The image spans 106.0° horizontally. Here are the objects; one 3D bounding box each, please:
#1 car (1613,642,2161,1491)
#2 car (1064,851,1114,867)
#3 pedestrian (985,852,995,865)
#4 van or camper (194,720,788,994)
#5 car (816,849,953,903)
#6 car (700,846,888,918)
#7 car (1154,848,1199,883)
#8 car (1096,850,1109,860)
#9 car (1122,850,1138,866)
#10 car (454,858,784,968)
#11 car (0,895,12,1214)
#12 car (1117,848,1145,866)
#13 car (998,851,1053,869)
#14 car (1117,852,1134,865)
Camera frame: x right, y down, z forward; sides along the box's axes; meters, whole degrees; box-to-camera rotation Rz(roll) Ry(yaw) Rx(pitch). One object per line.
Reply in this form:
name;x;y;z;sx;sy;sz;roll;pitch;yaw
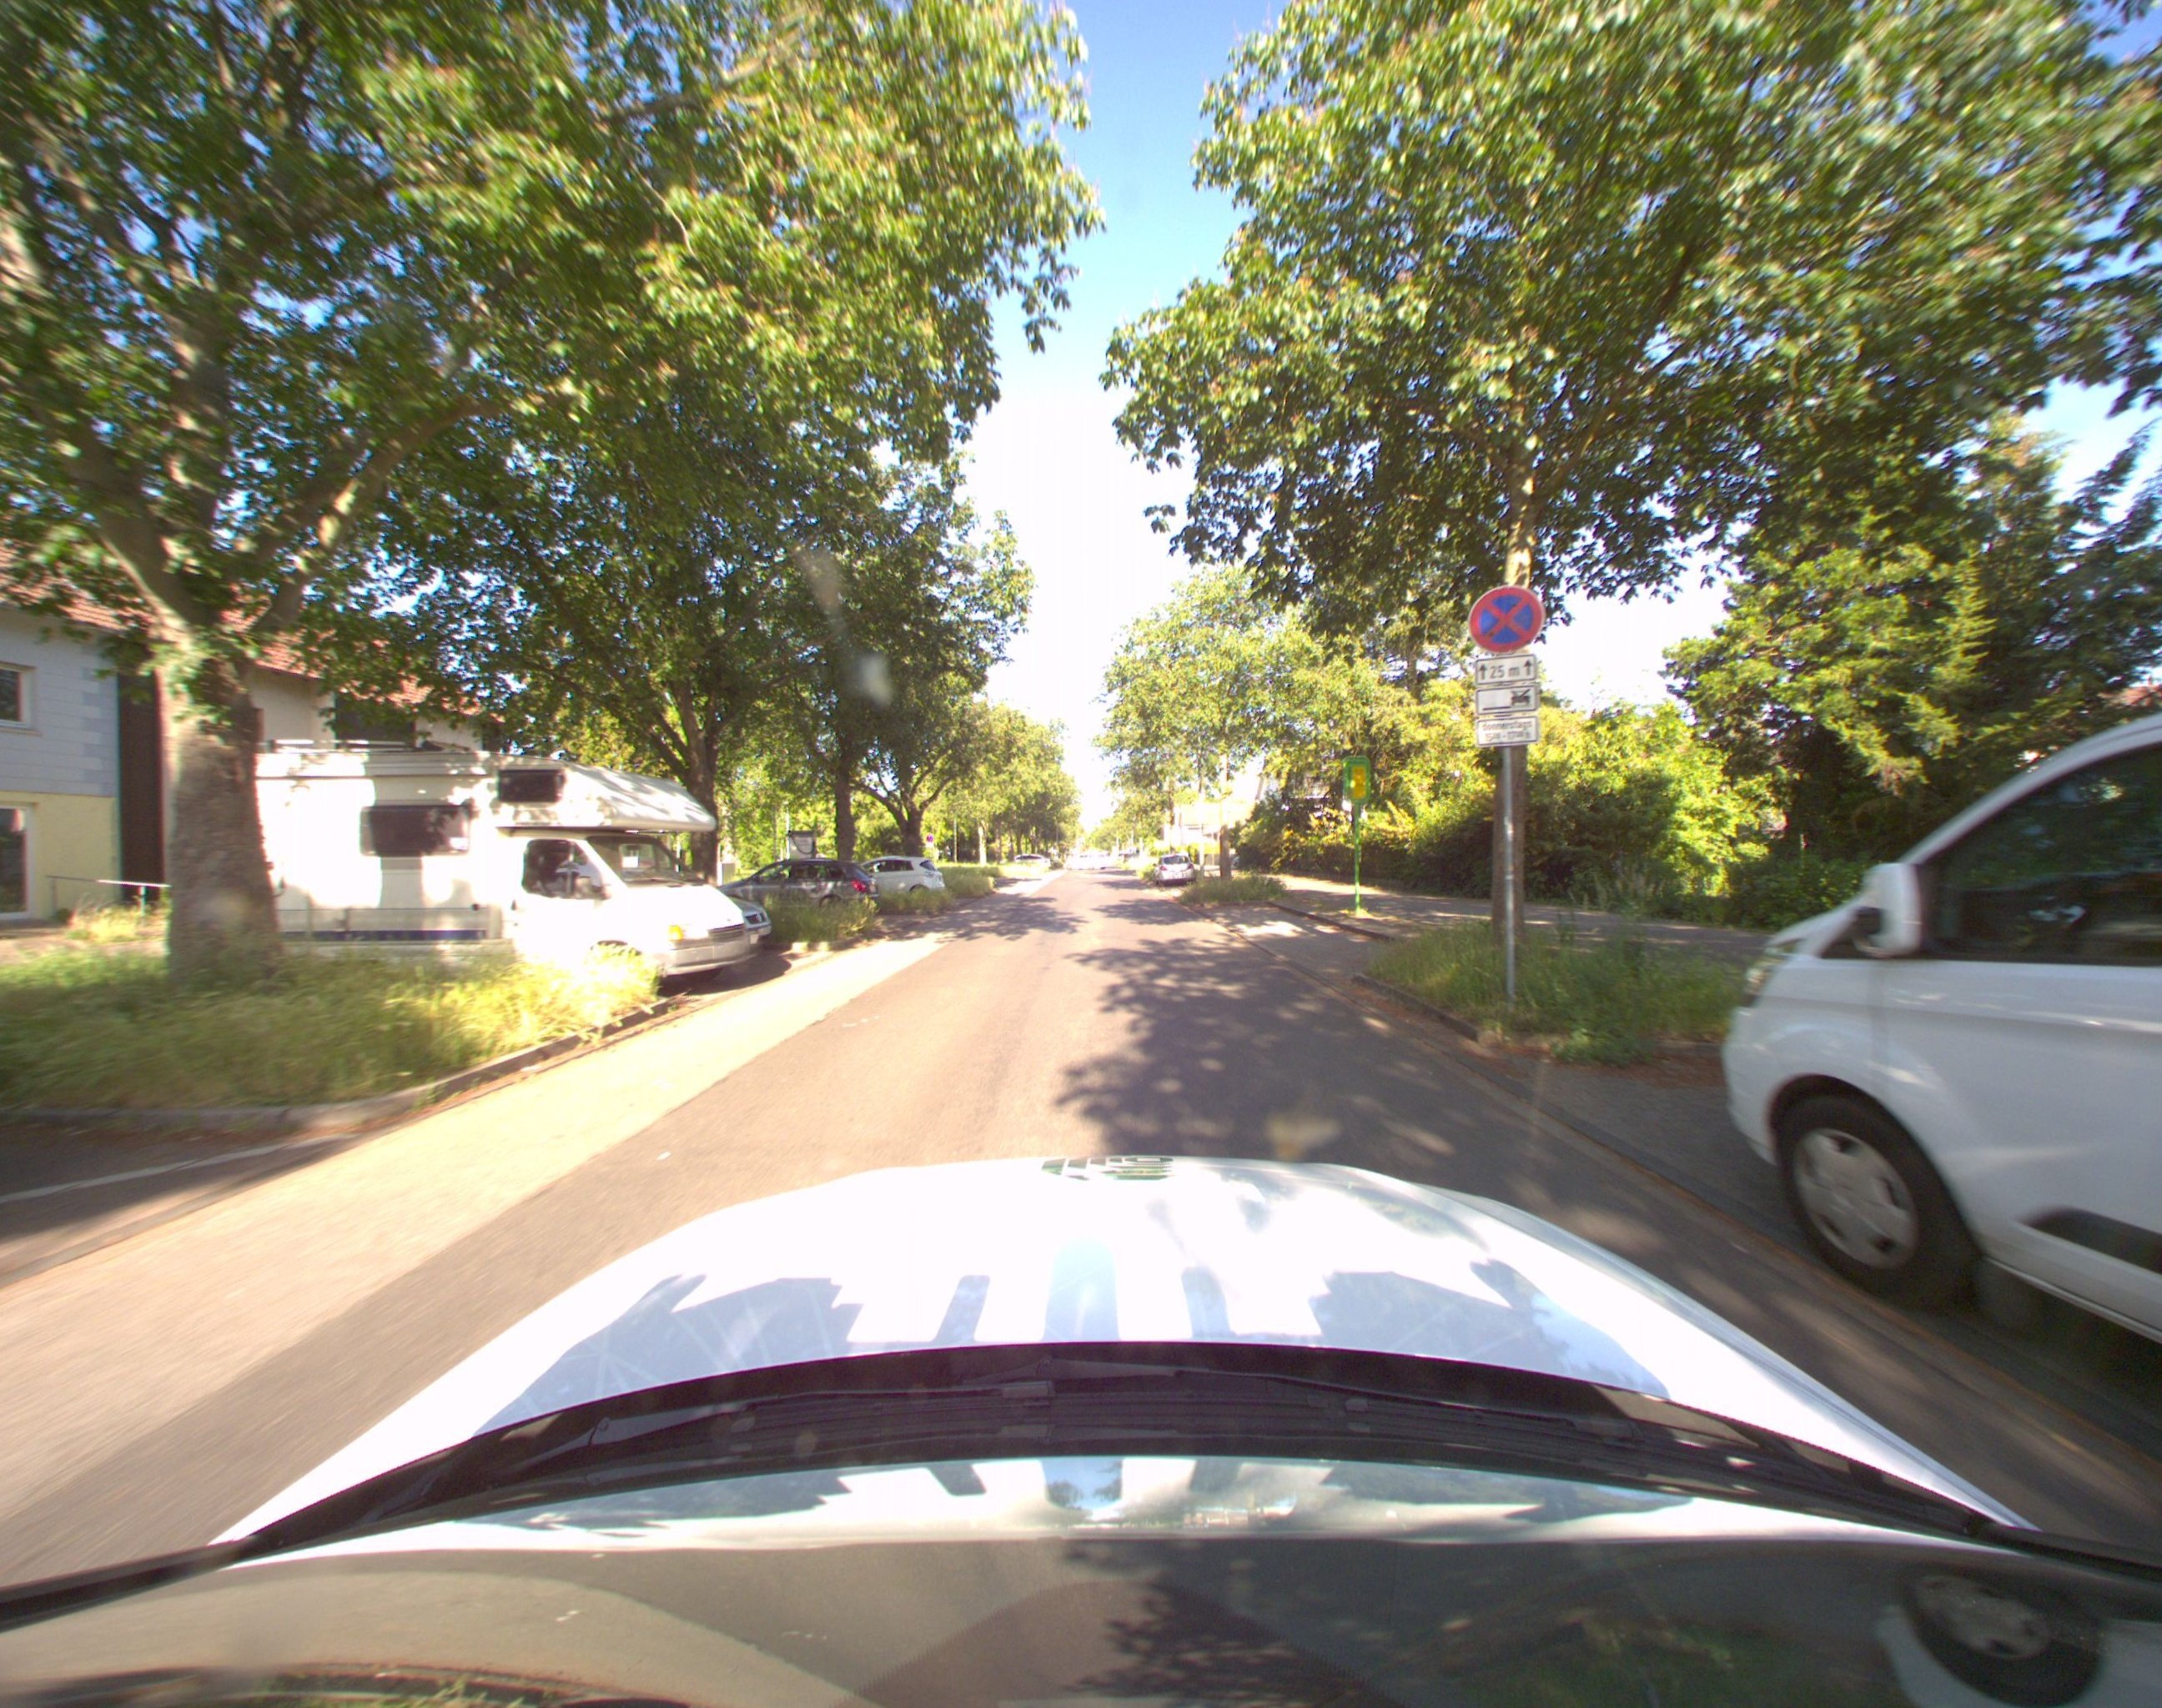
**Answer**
car;3.576;0.528;1.317;1.987;2.013;5.195;2;0;0
car;0.703;0.445;73.725;4.170;1.455;2.013;-1;0;38
pedestrian;-13.078;0.608;116.856;1.227;1.827;1.542;1;-1;-16
van or camper;-6.900;0.020;9.980;5.752;2.805;2.001;2;-1;2
car;-6.363;0.682;26.710;3.974;1.661;1.966;0;0;-1
car;-7.171;0.683;20.691;3.974;1.589;1.999;2;0;-1
car;4.591;0.538;38.780;1.982;1.510;4.009;-2;-1;8
car;3.501;0.121;132.059;1.987;1.508;3.657;2;0;0
car;5.407;0.437;90.768;1.604;1.622;4.383;2;0;1
car;-7.072;0.865;12.851;3.975;1.458;1.999;2;0;-1
car;-6.946;0.867;3.018;3.969;1.450;1.641;1;0;4
car;4.838;0.269;79.129;1.990;1.622;4.374;2;0;-5
car;-4.926;0.532;72.977;4.653;1.503;2.001;0;0;2
car;6.436;0.717;117.959;1.988;1.728;3.997;-3;-1;-1
